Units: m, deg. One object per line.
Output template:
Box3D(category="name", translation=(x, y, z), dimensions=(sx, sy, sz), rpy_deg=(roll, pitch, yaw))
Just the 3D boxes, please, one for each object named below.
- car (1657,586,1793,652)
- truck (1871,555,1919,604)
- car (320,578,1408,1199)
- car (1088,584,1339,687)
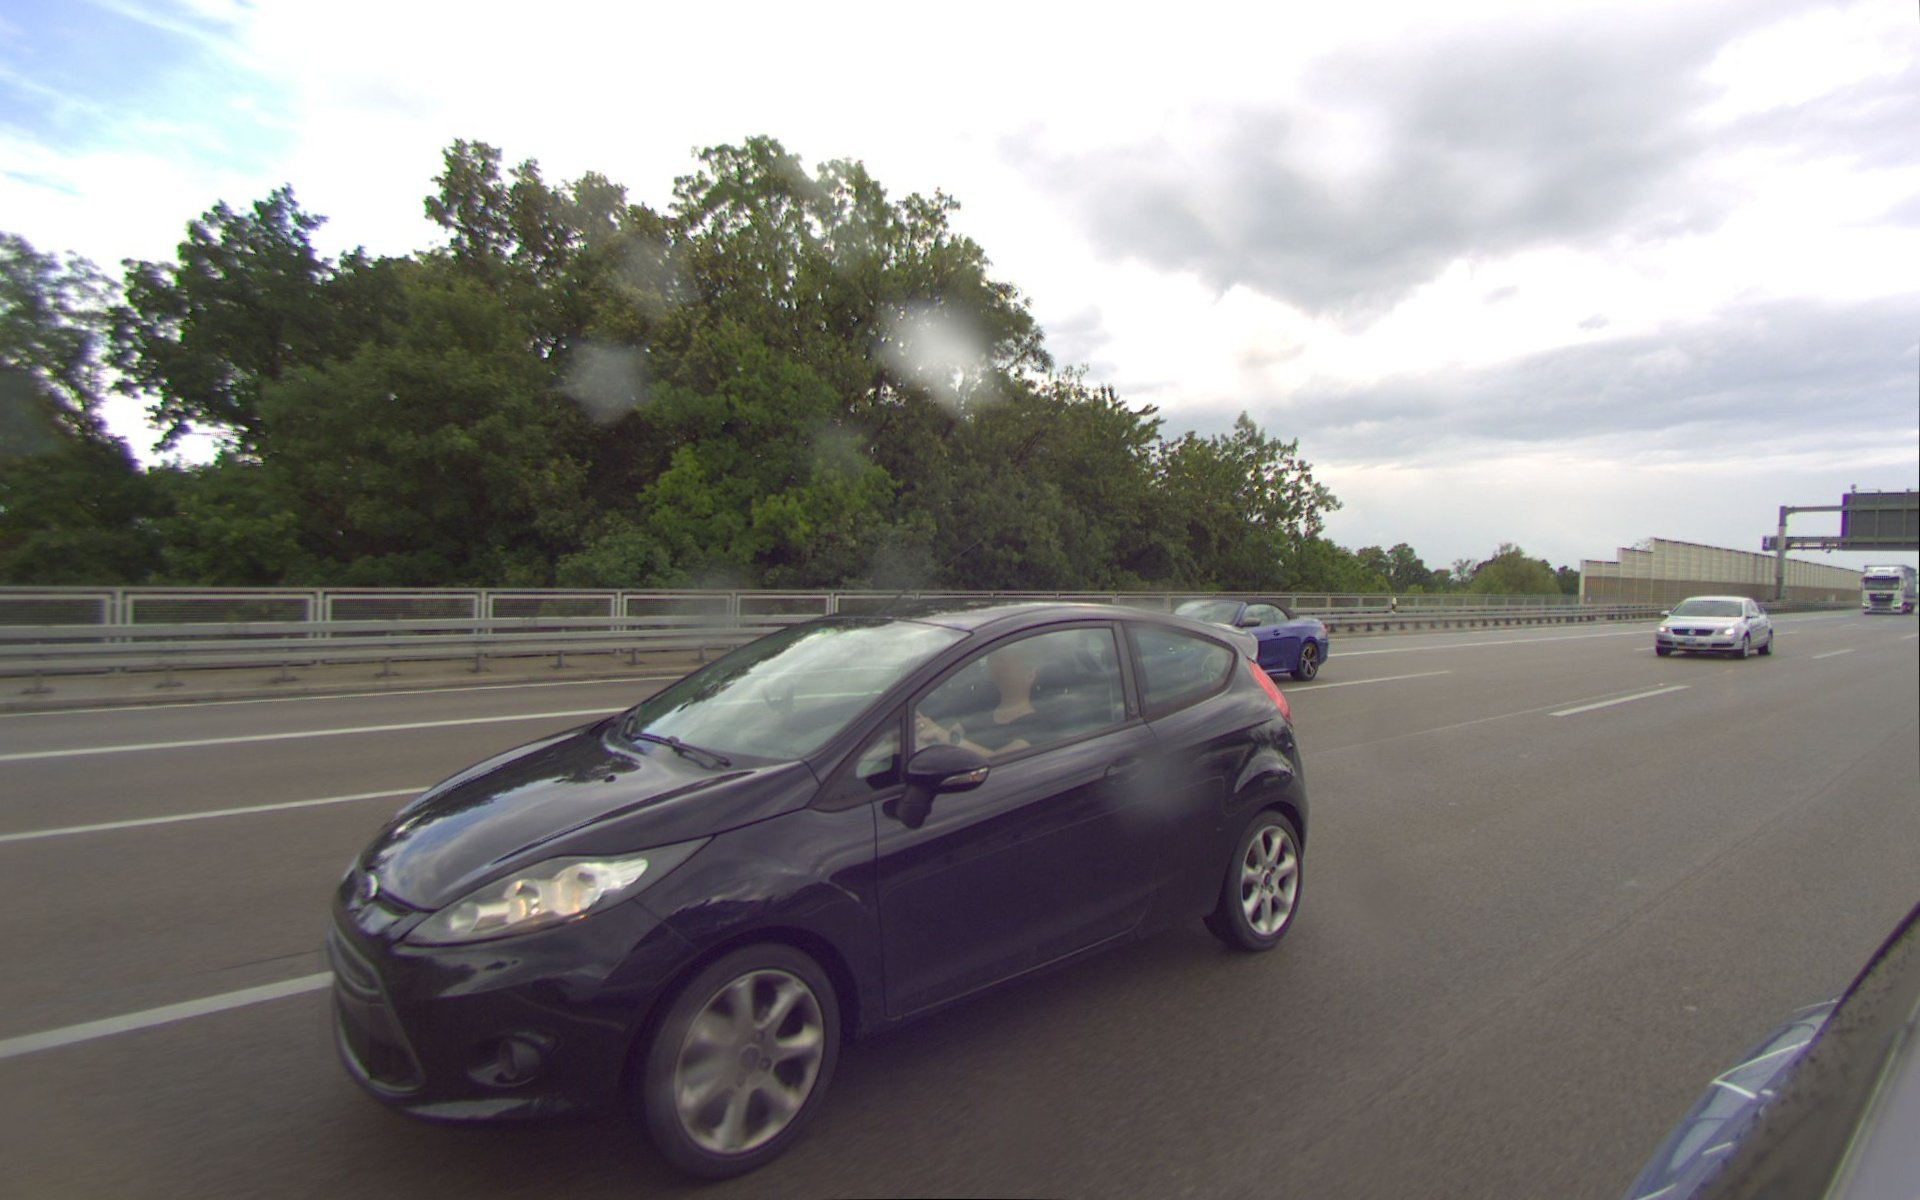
Box3D(category="car", translation=(18.811, 0.419, 24.832), dimensions=(4.172, 1.465, 1.896), rpy_deg=(0, 1, -42))
Box3D(category="truck", translation=(80.241, -1.675, 86.020), dimensions=(12.109, 3.956, 3.249), rpy_deg=(-1, 1, -44))
Box3D(category="car", translation=(0.061, 0.664, 4.151), dimensions=(4.330, 1.458, 1.666), rpy_deg=(0, 1, -43))
Box3D(category="car", translation=(4.274, 0.493, 16.634), dimensions=(4.508, 1.465, 1.780), rpy_deg=(0, 1, -42))
